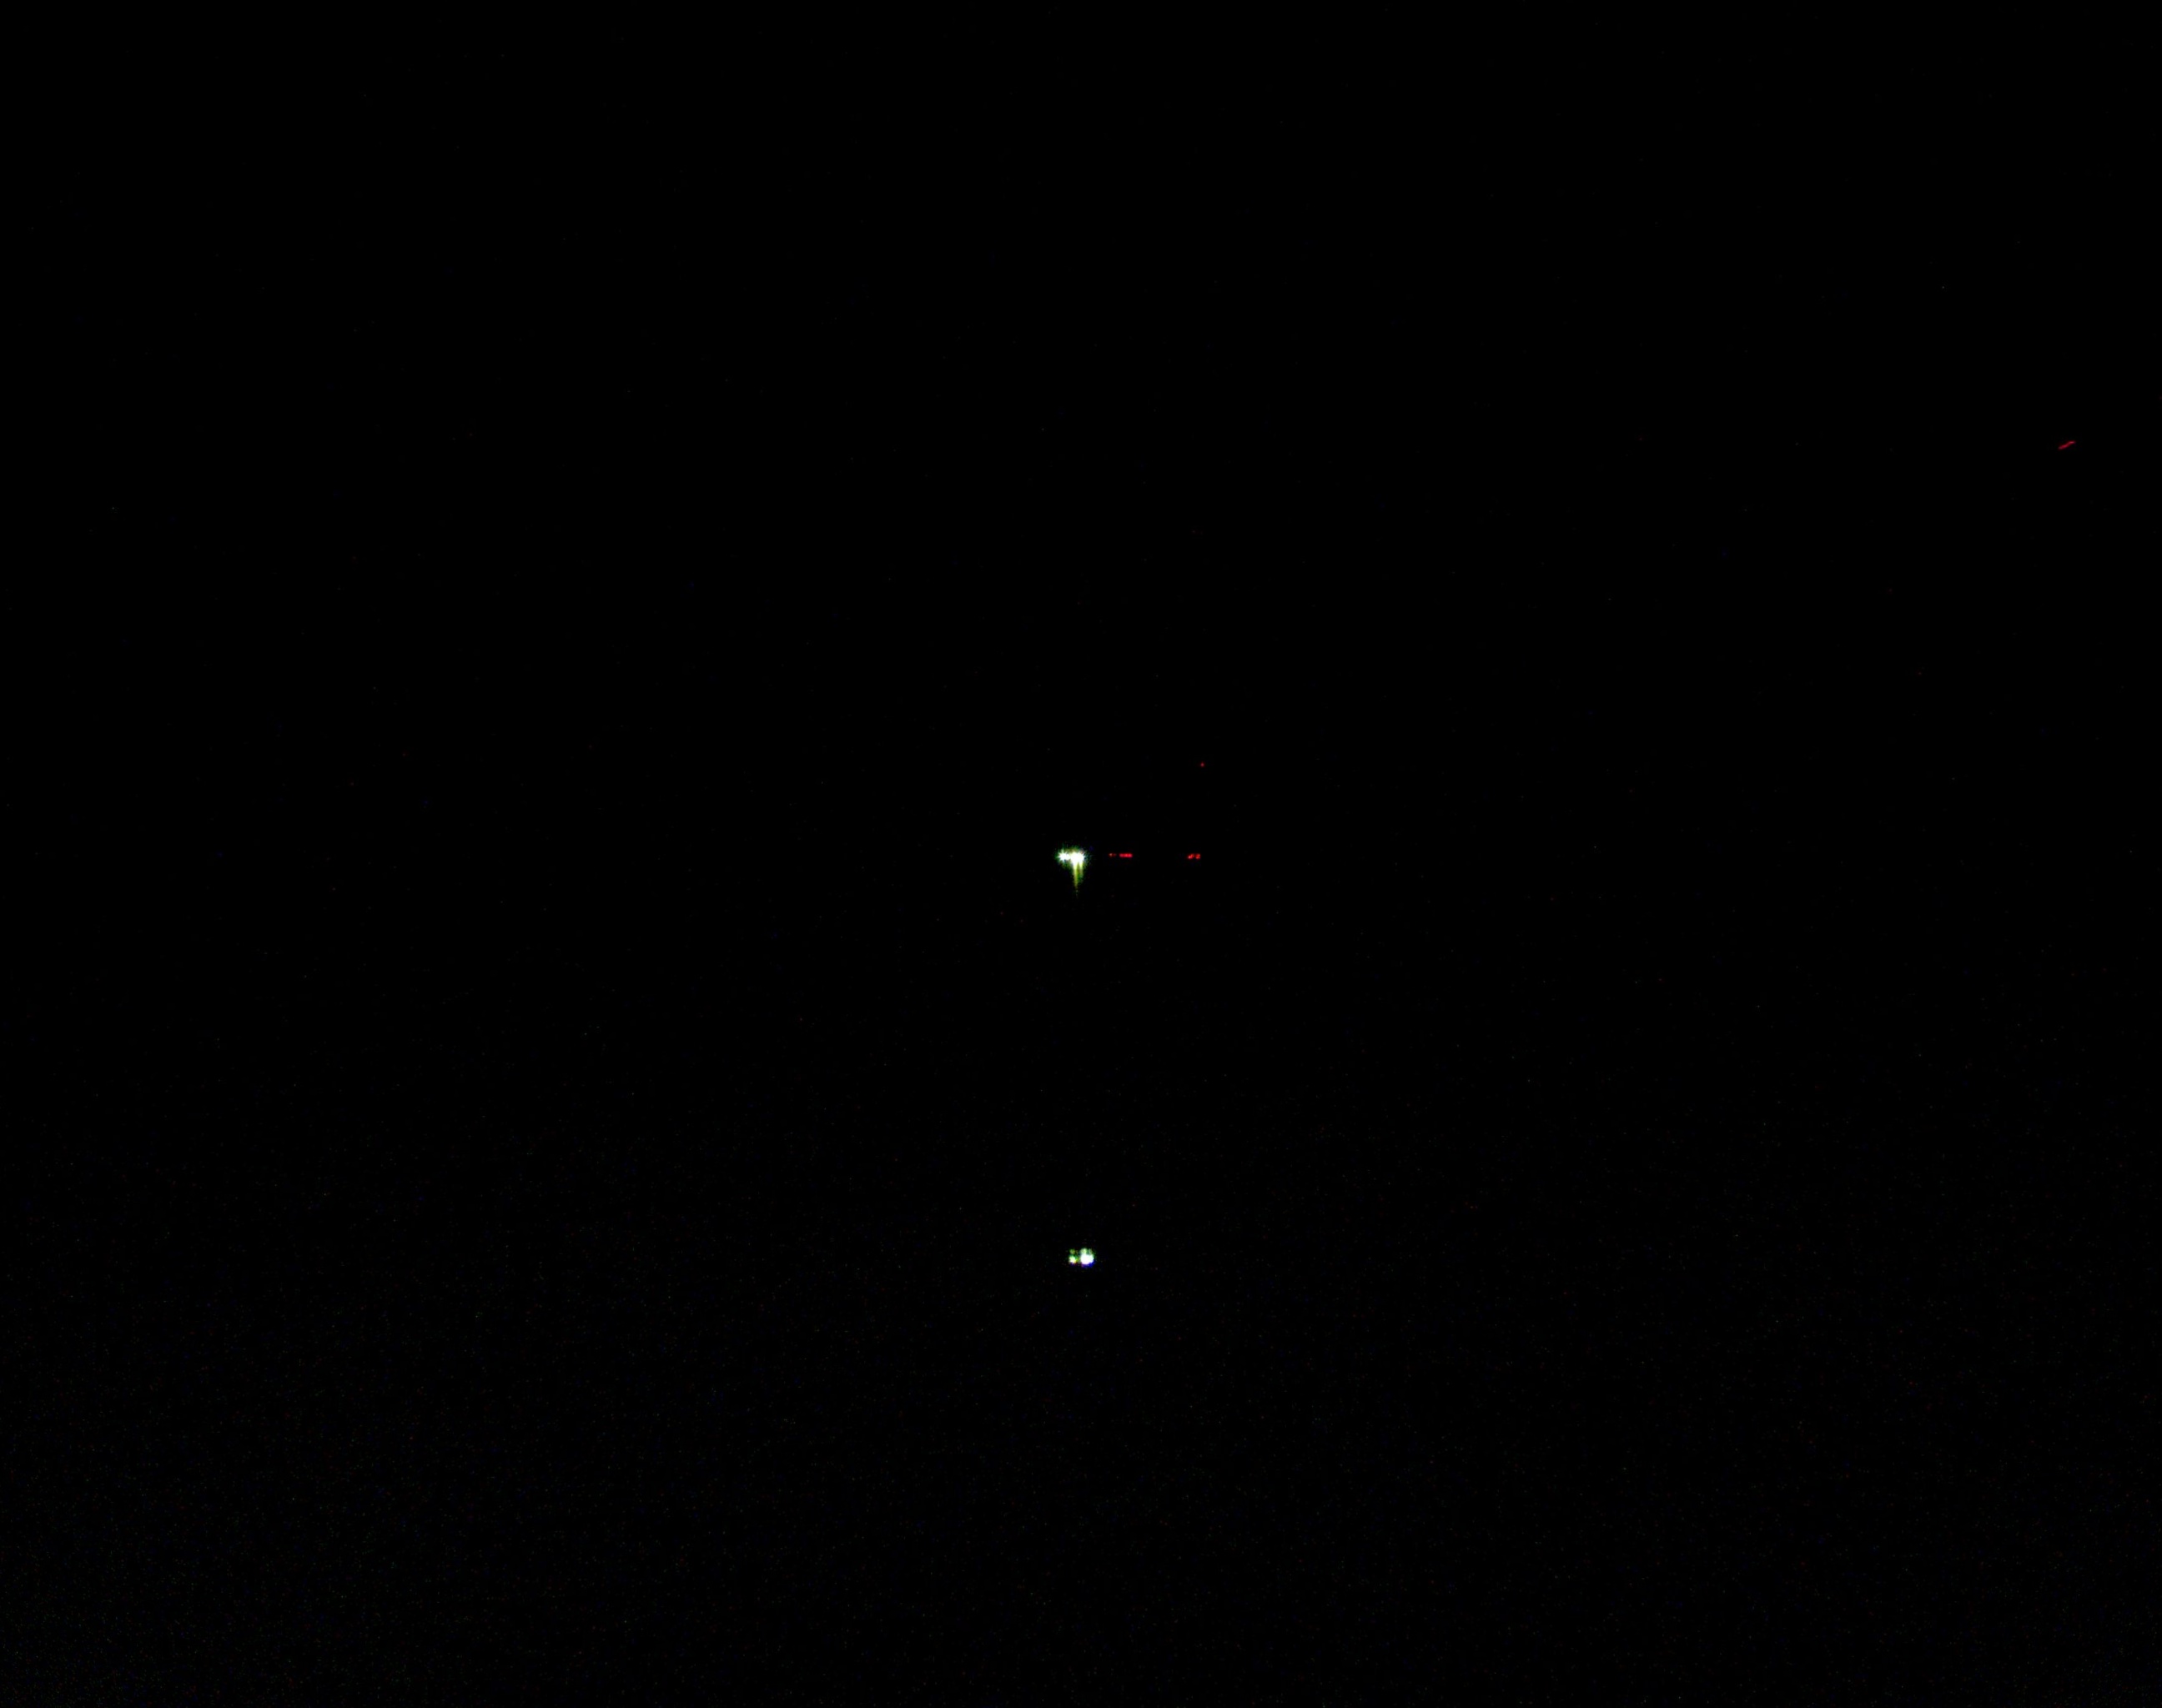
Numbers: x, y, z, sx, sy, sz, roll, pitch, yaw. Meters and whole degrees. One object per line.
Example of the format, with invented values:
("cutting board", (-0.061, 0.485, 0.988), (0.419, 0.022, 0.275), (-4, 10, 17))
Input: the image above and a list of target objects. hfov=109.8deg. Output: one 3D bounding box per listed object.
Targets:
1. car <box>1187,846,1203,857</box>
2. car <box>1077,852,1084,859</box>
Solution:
("car", (19.776, -0.439, 131.556), (2.014, 1.641, 5.109), (-2, 1, 0))
("car", (-0.166, 0.352, 202.520), (1.859, 1.608, 3.999), (-2, 1, 0))
